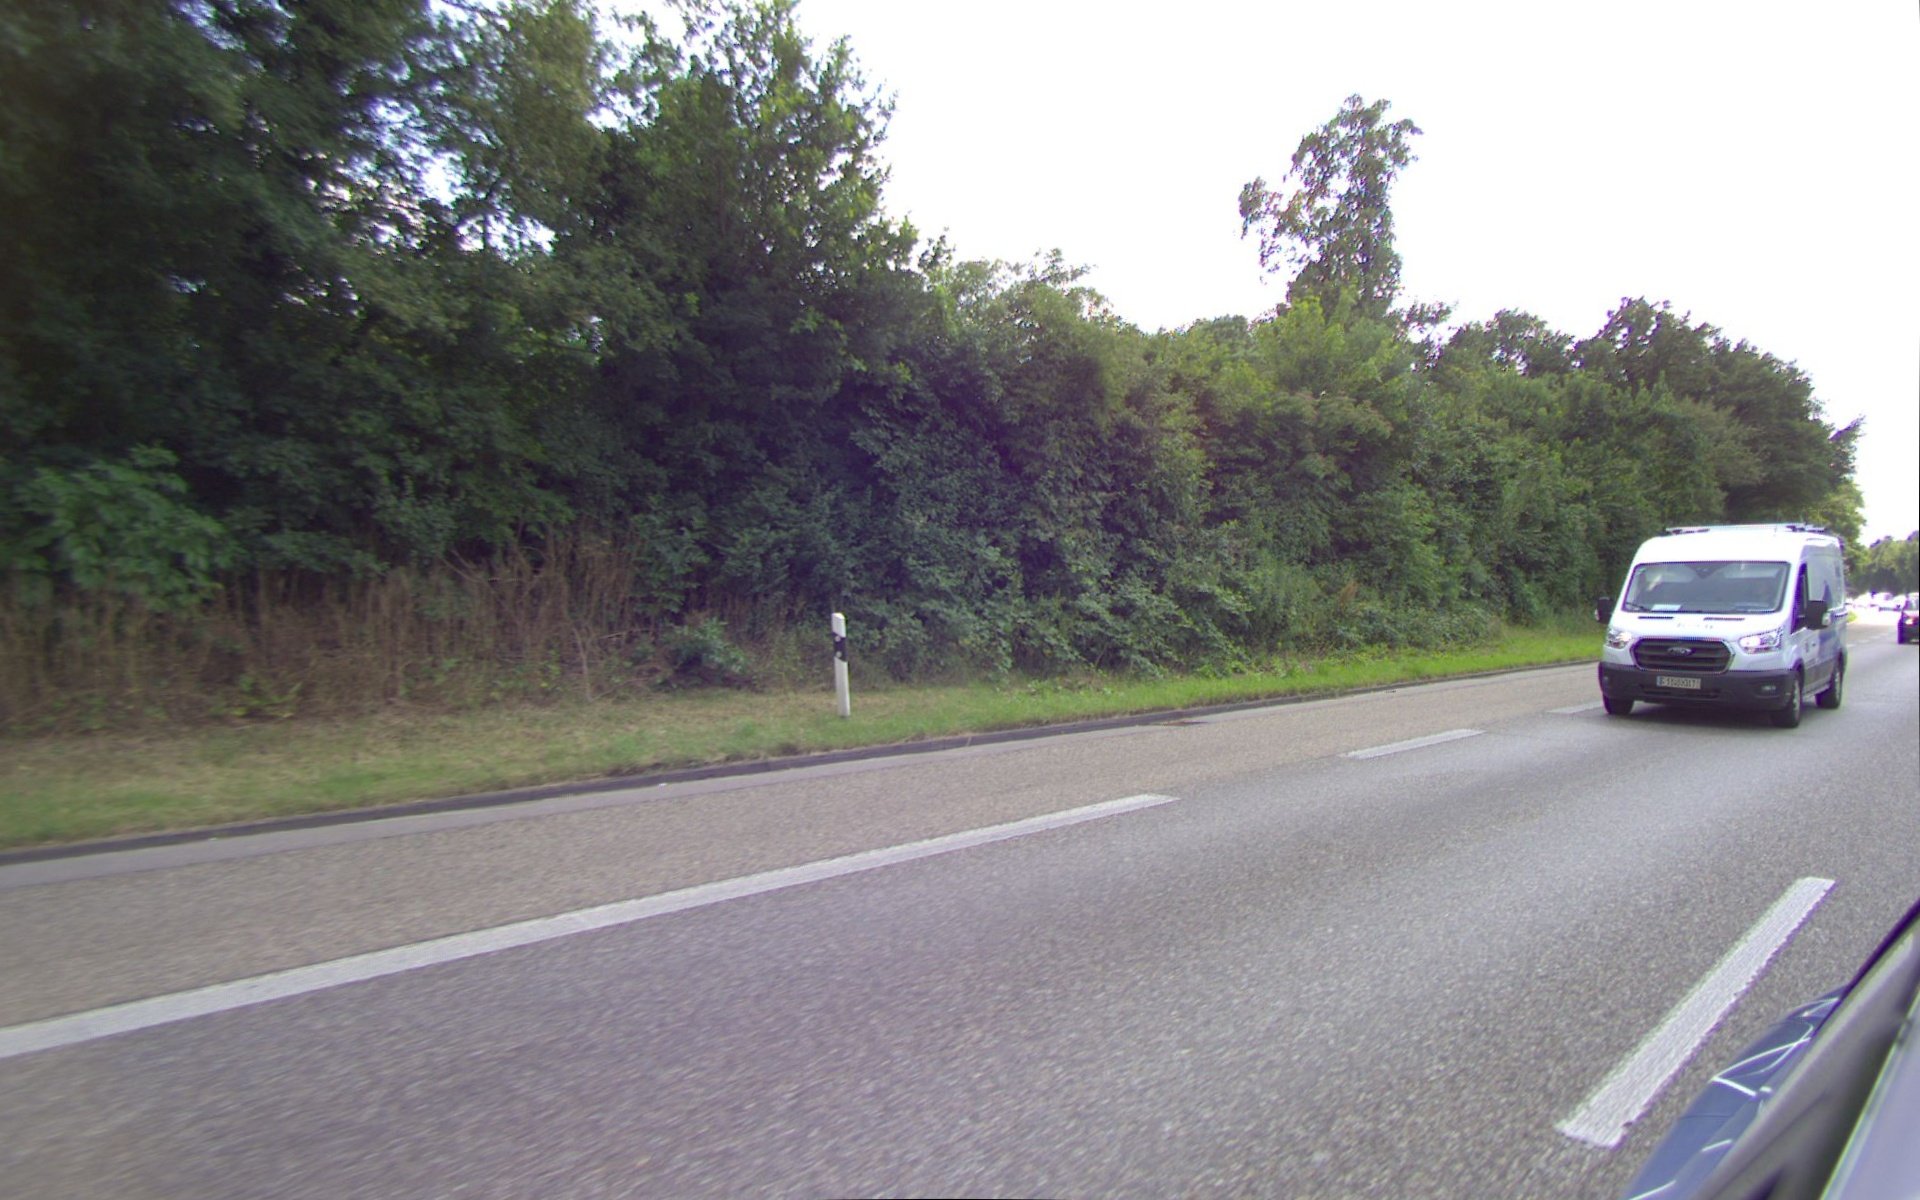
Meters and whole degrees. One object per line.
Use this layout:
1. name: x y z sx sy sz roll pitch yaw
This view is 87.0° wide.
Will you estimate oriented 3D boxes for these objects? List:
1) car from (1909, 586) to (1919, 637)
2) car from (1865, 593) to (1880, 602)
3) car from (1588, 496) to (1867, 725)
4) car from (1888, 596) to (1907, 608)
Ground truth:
1. car: 35.906 0.409 36.702 4.321 1.828 1.905 0 0 -43
2. car: 156.782 -0.454 173.821 1.781 1.540 3.937 2 2 43
3. car: 10.546 0.107 13.731 5.188 2.539 2.101 0 0 -42
4. car: 125.215 0.217 135.132 1.782 1.540 3.936 2 2 44
